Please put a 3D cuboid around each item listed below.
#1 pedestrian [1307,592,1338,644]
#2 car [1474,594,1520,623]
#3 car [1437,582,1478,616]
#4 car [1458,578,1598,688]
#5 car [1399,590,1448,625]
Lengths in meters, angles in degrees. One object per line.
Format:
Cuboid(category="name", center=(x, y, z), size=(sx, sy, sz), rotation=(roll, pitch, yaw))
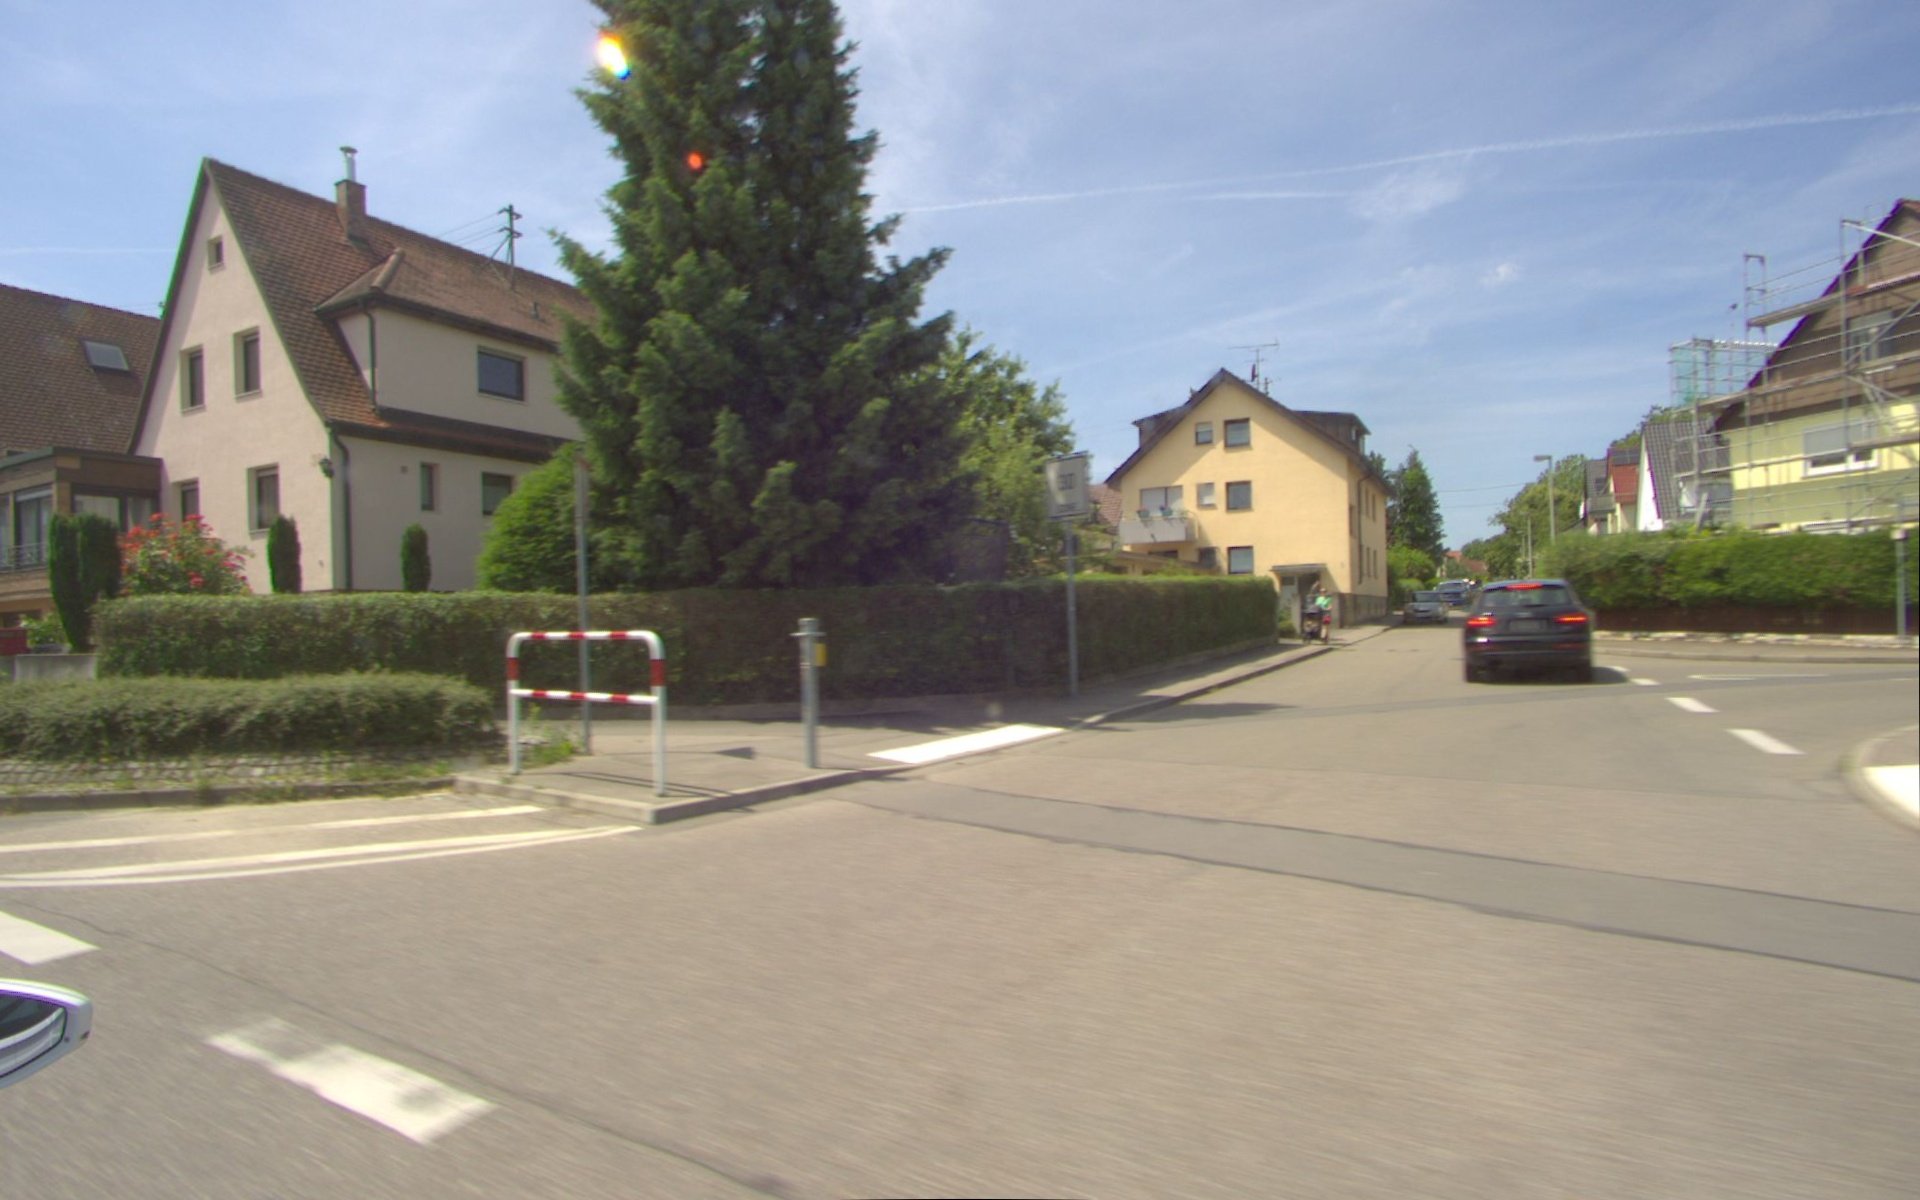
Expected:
Cuboid(category="pedestrian", center=(10.629, 0.528, 29.363), size=(0.667, 1.493, 0.810), rotation=(-1, 1, 33))
Cuboid(category="car", center=(25.553, 0.390, 47.584), size=(1.648, 1.295, 3.782), rotation=(-1, 0, 33))
Cuboid(category="car", center=(32.553, -0.049, 65.465), size=(1.972, 2.131, 3.977), rotation=(-1, 0, 33))
Cuboid(category="car", center=(9.275, 0.501, 16.470), size=(1.747, 1.575, 3.895), rotation=(-3, -1, 29))
Cuboid(category="car", center=(20.866, 0.323, 44.986), size=(1.774, 1.453, 3.787), rotation=(-1, 0, 28))
